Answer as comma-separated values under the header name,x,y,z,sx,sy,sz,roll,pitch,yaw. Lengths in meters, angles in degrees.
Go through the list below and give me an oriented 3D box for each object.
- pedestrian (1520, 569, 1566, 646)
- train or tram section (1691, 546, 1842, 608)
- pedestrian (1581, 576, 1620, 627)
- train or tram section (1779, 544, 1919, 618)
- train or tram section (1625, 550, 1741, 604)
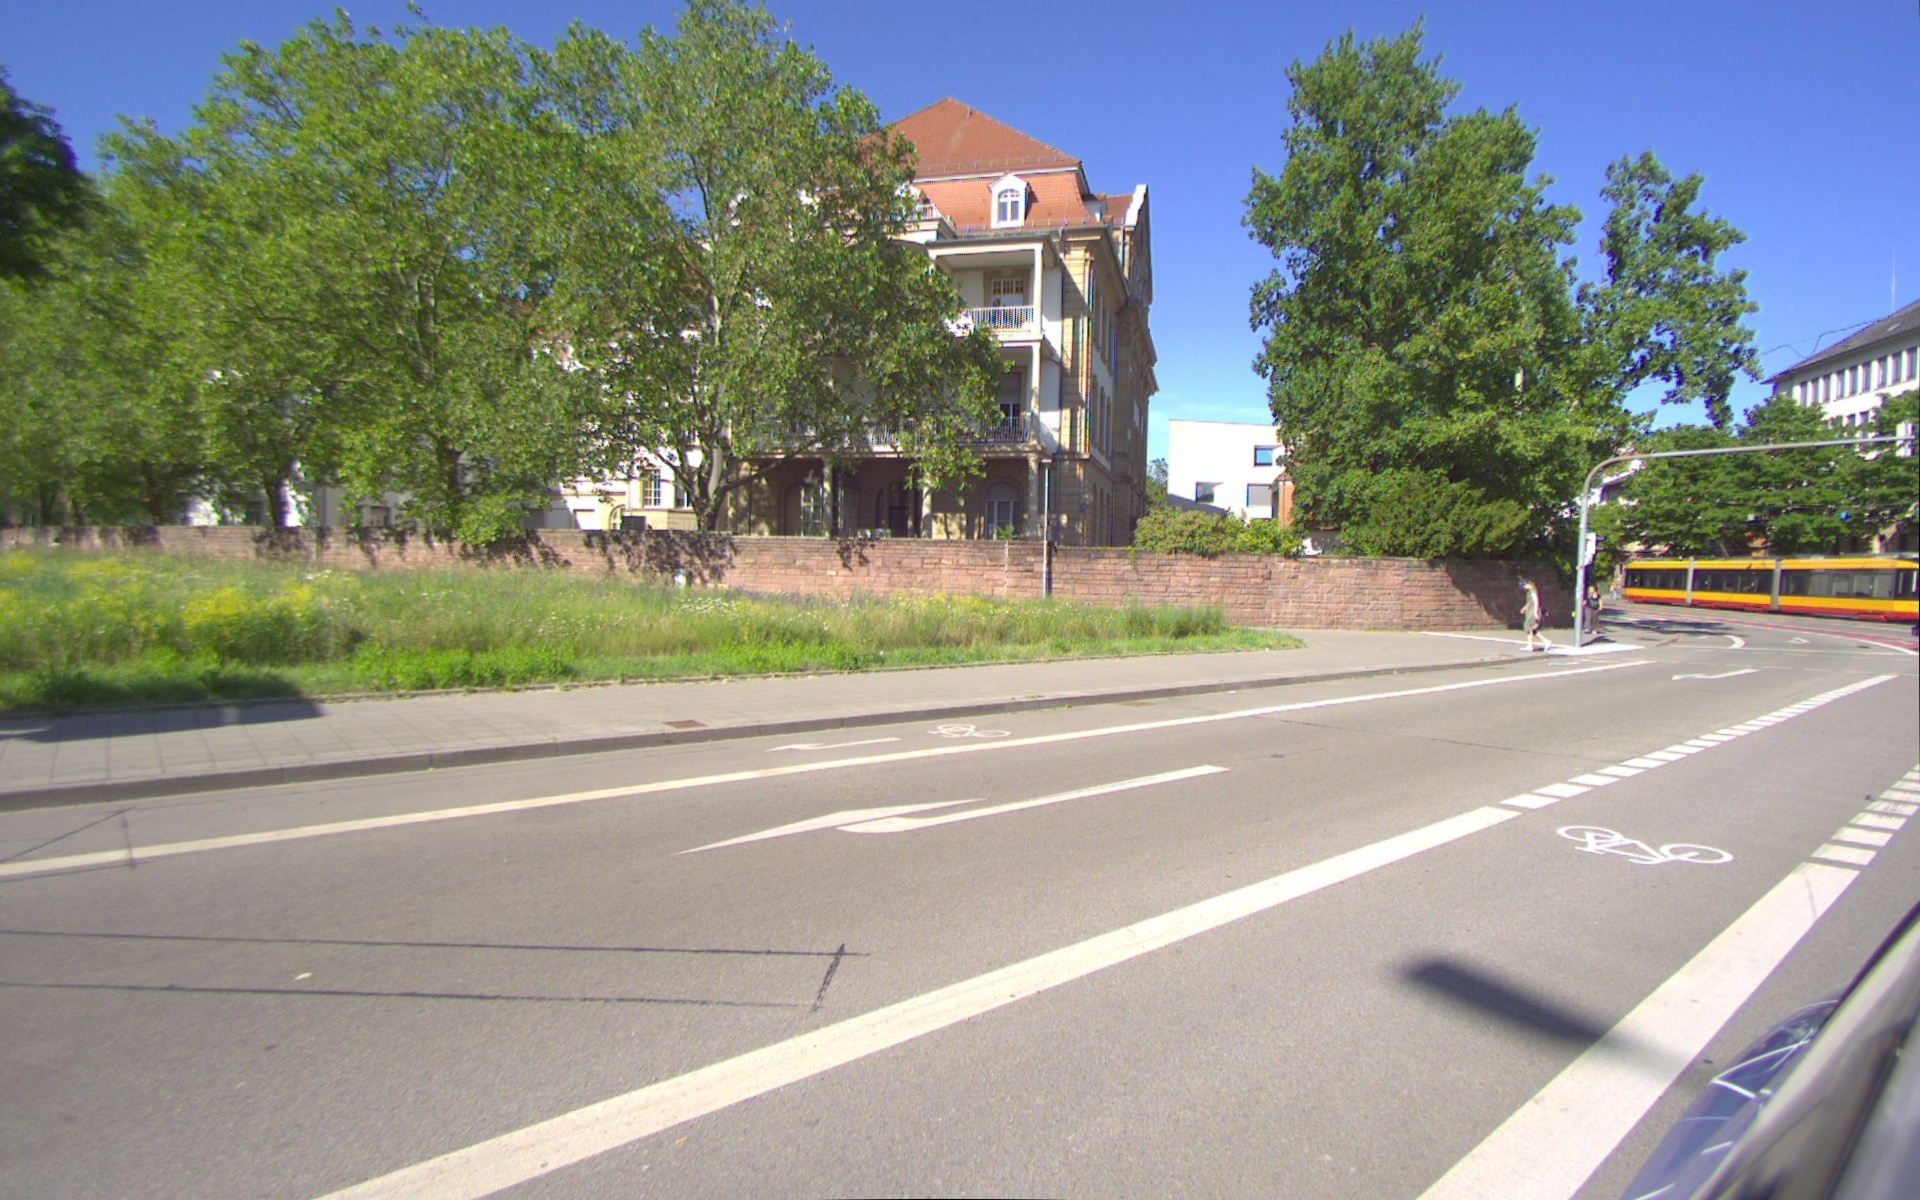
name,x,y,z,sx,sy,sz,roll,pitch,yaw
pedestrian,14.547,0.183,25.287,0.618,1.881,0.788,1,1,-1
train or tram section,51.643,-1.543,65.381,2.898,3.563,11.630,2,2,14
pedestrian,21.754,0.055,34.384,0.618,1.687,0.933,0,2,-35
train or tram section,48.617,-1.035,53.082,2.897,3.563,13.788,2,2,13
train or tram section,54.442,-1.793,76.703,2.898,3.728,11.630,2,2,14
